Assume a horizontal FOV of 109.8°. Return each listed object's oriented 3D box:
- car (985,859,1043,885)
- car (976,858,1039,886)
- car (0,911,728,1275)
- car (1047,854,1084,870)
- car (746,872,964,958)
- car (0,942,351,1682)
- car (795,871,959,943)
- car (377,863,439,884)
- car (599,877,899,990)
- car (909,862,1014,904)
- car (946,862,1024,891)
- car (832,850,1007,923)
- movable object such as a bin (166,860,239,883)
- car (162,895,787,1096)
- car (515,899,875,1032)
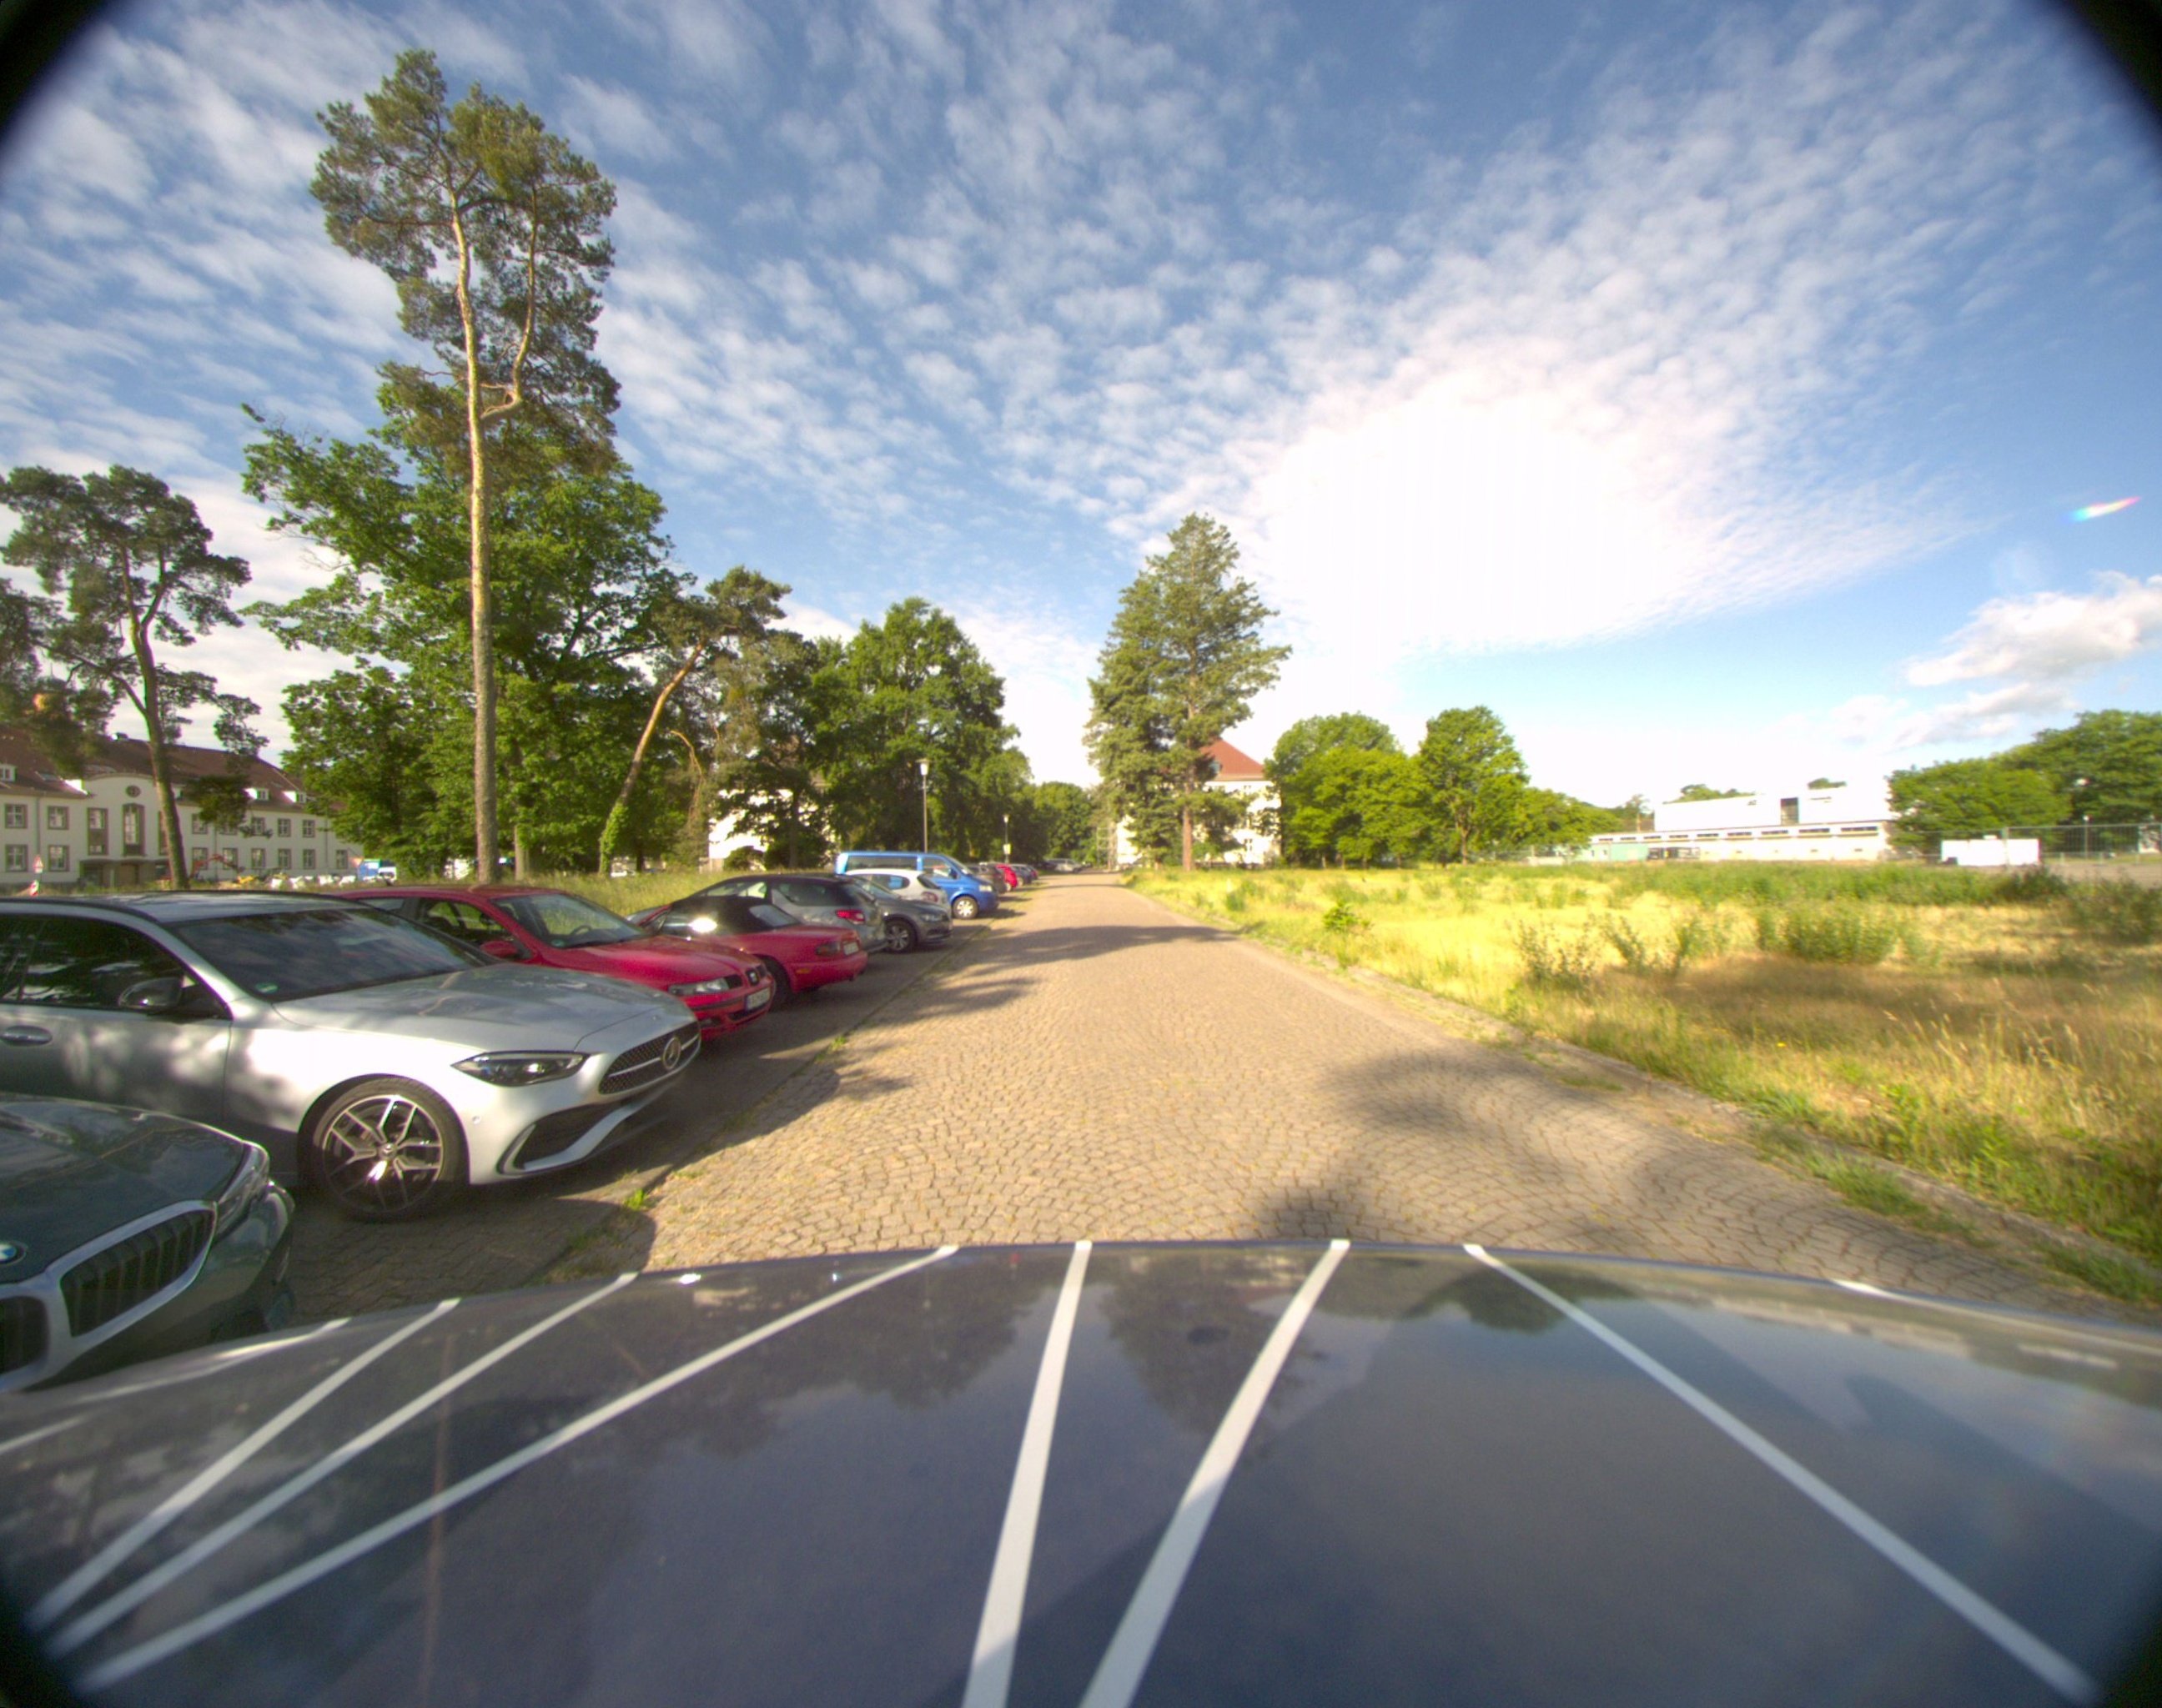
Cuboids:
[{"bbox_3d":[-4.970,1.356,56.729,3.996,1.605,1.757,-4,1,4],"label":"car"},{"bbox_3d":[-5.028,1.225,52.056,3.996,1.731,1.757,-3,0,2],"label":"car"},{"bbox_3d":[-4.573,1.098,4.143,4.423,1.394,1.826,1,0,-1],"label":"car"},{"bbox_3d":[-2.096,1.108,105.535,5.068,2.251,2.000,-1,0,0],"label":"car"},{"bbox_3d":[-4.203,1.114,14.338,3.621,1.481,1.509,-1,0,9],"label":"car"},{"bbox_3d":[-4.579,1.028,1.420,4.507,1.507,1.825,0,0,-4],"label":"car"},{"bbox_3d":[-4.548,1.162,17.187,3.264,1.481,1.449,-1,0,2],"label":"car"},{"bbox_3d":[-69.183,1.974,78.220,1.998,2.002,4.773,-1,0,1],"label":"car"},{"bbox_3d":[-4.804,1.133,11.376,3.779,1.481,1.549,-1,0,-1],"label":"car"},{"bbox_3d":[-4.911,1.162,31.509,3.996,1.630,1.757,-1,0,2],"label":"car"},{"bbox_3d":[-5.235,1.217,41.866,3.996,1.509,1.757,-1,0,2],"label":"car"},{"bbox_3d":[-4.680,0.925,22.573,4.726,2.002,2.000,-1,0,1],"label":"car"},{"bbox_3d":[-91.284,1.771,79.083,1.999,2.309,4.985,-1,0,-4],"label":"movable object such as a bin"},{"bbox_3d":[-4.770,1.093,6.425,3.918,1.385,1.661,0,0,-1],"label":"car"},{"bbox_3d":[-4.234,1.210,8.680,3.357,1.248,1.420,-1,0,-1],"label":"car"}]
